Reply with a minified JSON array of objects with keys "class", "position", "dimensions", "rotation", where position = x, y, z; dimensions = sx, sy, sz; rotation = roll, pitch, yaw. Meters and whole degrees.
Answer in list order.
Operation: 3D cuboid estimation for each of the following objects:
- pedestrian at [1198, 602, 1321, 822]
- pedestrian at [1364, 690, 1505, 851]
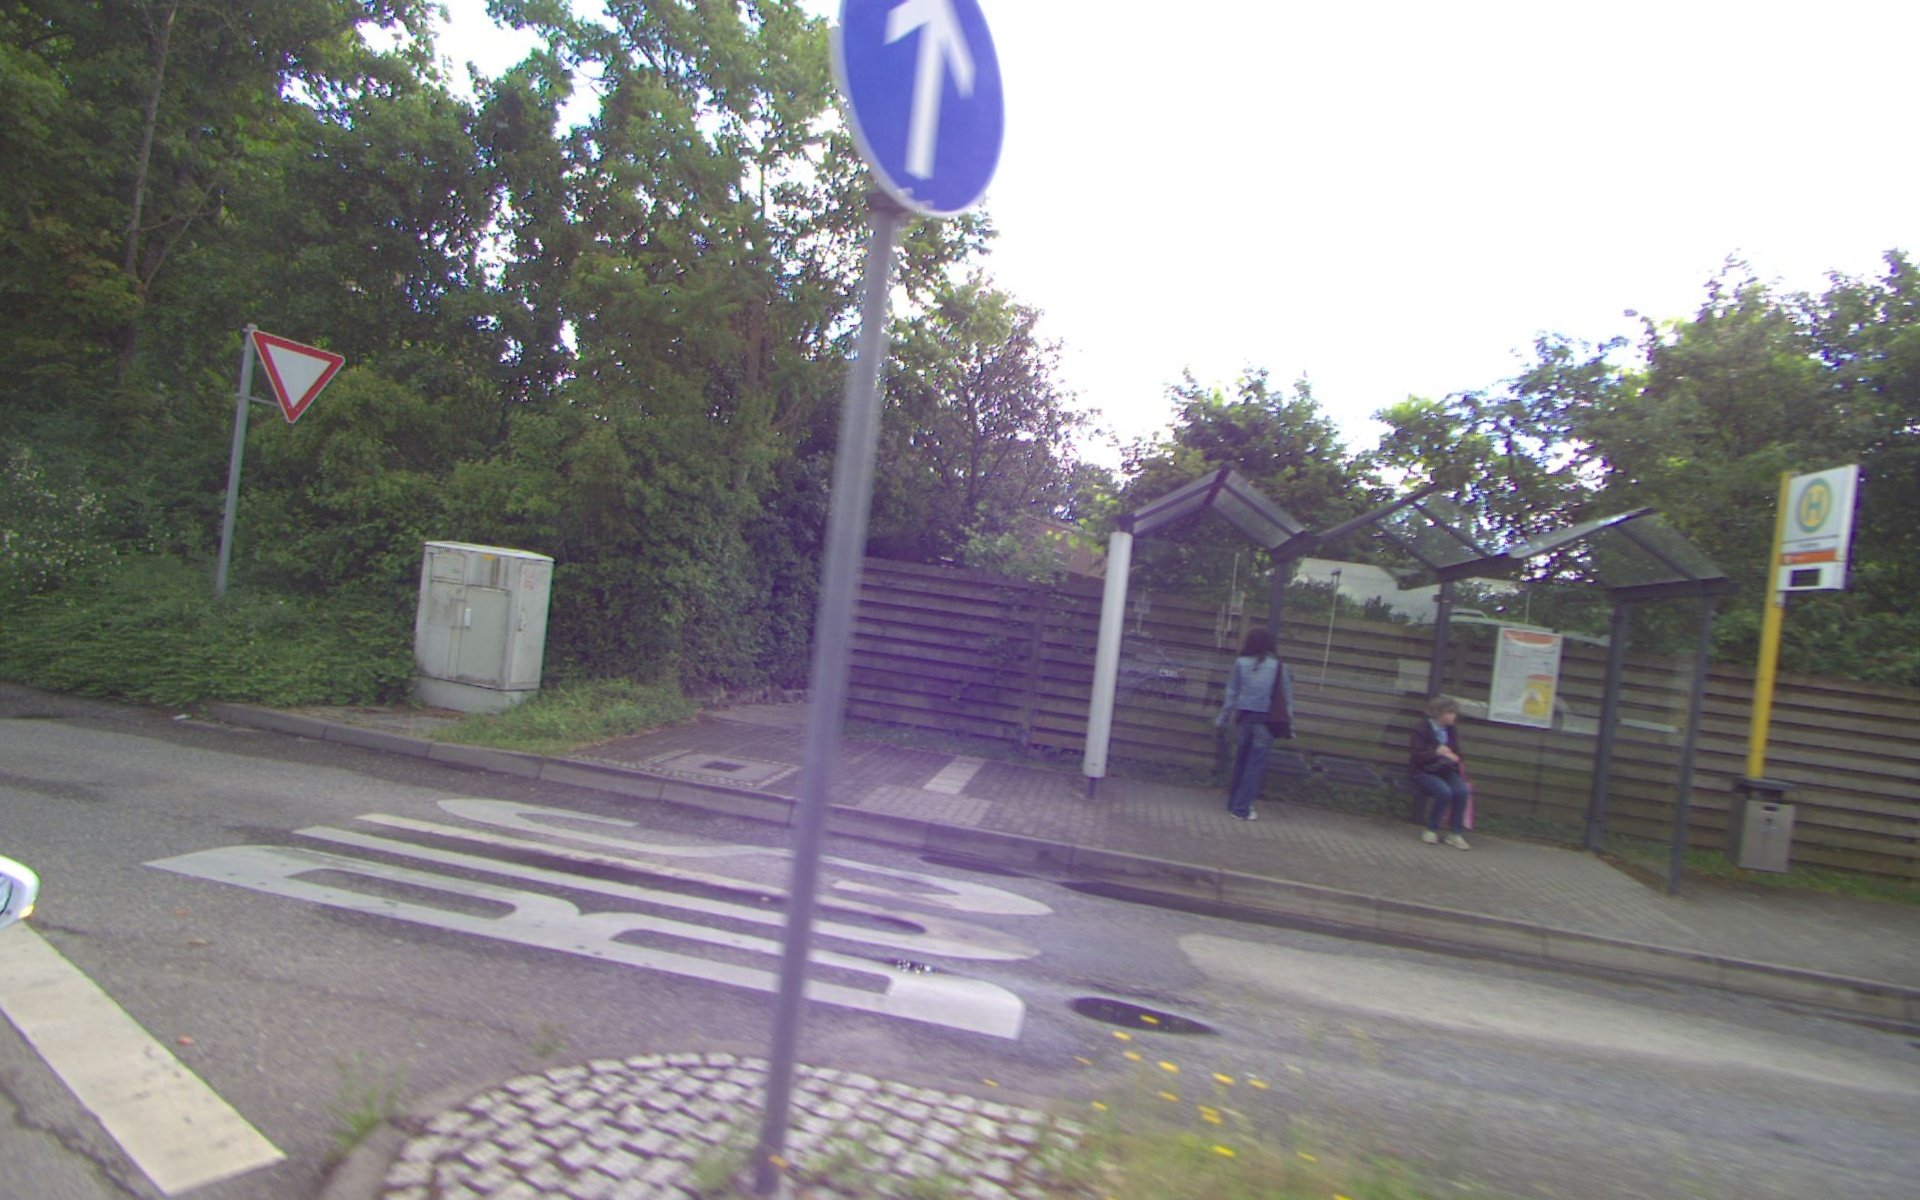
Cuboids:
[{"class":"pedestrian","position":[2.497,0.904,8.417],"dimensions":[0.757,1.670,0.687],"rotation":[7,0,17]},{"class":"pedestrian","position":[4.055,1.436,8.657],"dimensions":[0.757,1.184,0.750],"rotation":[7,0,5]}]
